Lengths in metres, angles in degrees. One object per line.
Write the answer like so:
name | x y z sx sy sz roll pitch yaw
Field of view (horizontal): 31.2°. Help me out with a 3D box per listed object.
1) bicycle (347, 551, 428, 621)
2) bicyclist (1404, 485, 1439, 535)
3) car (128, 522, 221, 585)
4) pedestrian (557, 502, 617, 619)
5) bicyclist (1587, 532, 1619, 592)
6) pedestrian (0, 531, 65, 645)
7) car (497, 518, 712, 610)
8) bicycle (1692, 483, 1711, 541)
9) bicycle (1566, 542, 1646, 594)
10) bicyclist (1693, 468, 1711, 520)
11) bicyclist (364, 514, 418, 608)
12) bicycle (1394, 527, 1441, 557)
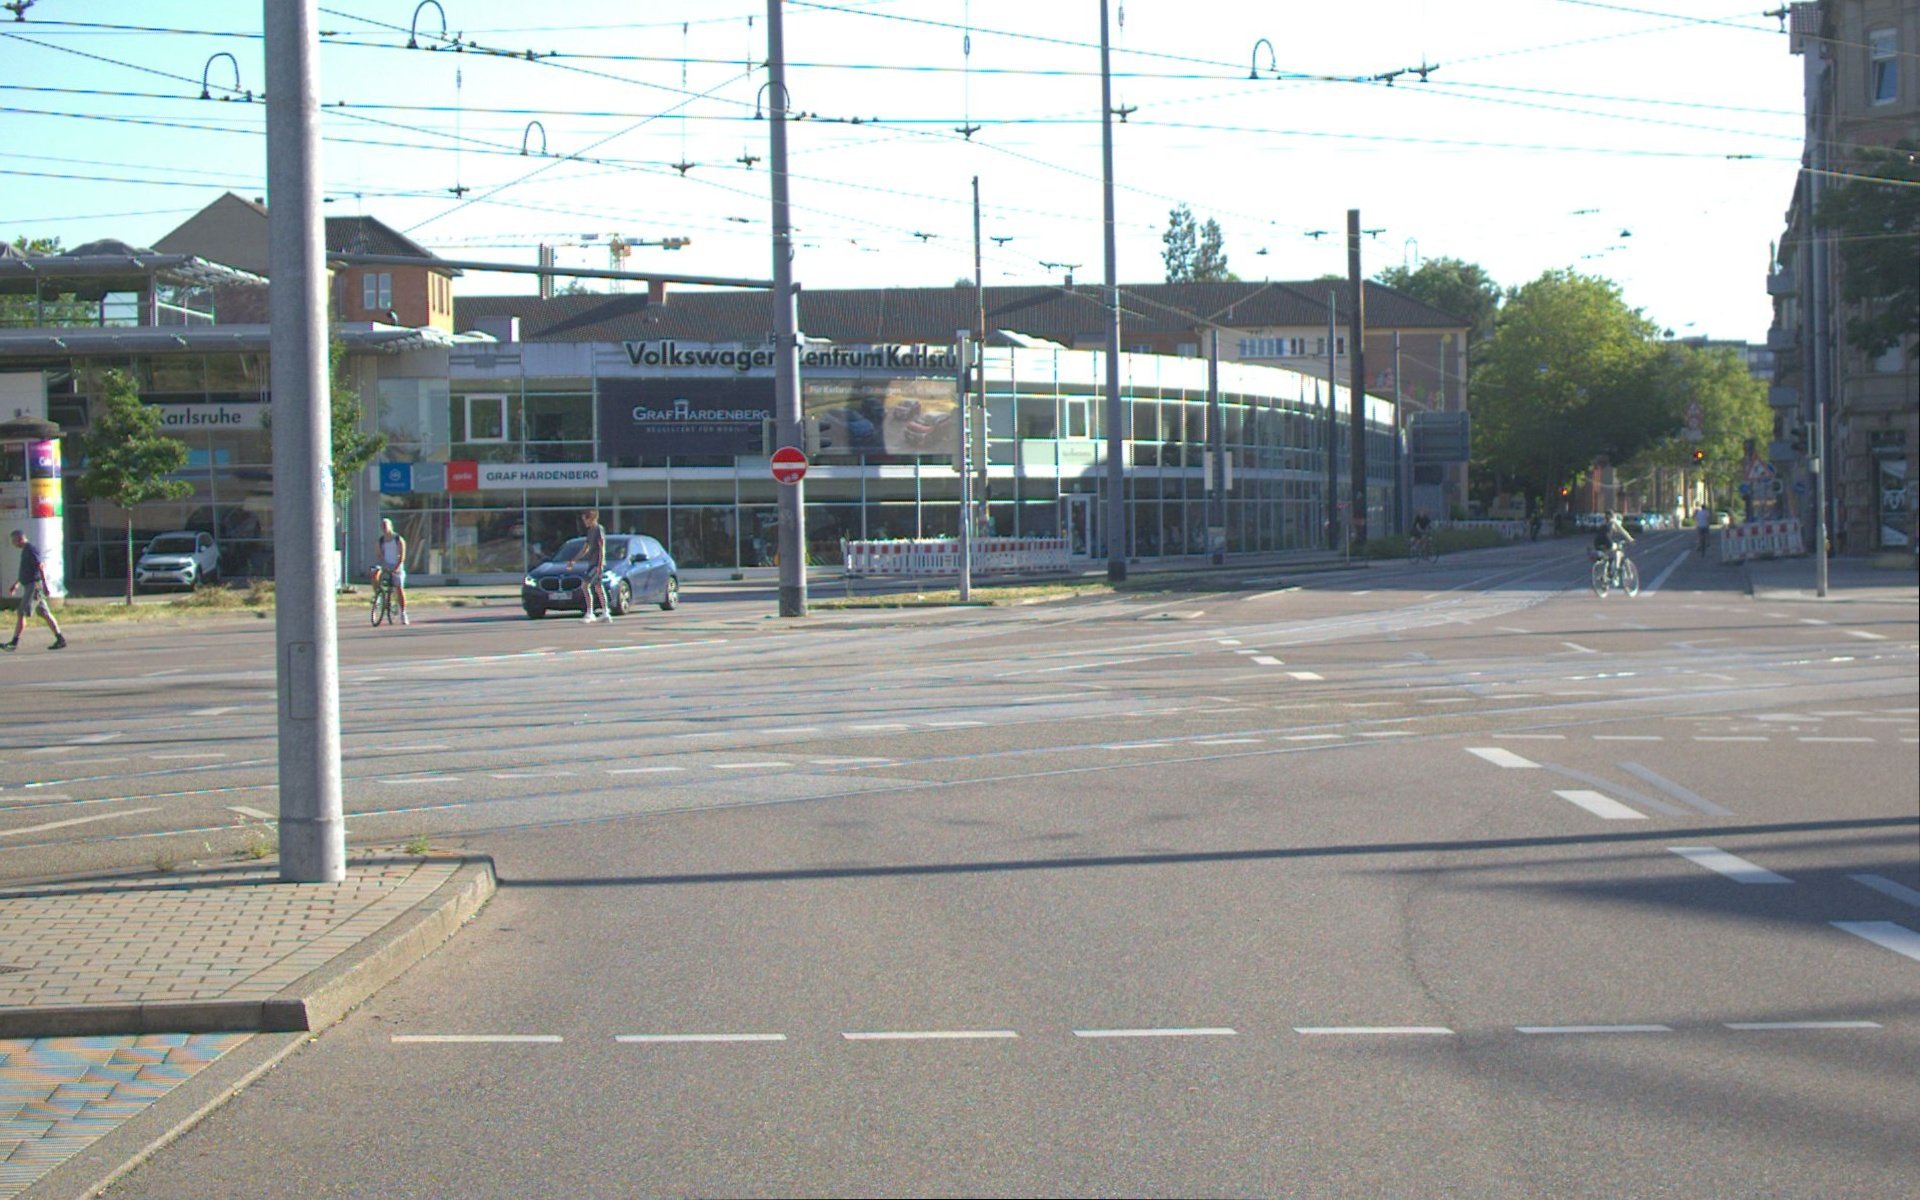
bicycle | -9.919 -0.242 59.625 0.613 1.185 1.867 1 1 17
bicyclist | 14.693 -2.876 109.504 0.771 1.571 0.762 1 0 -30
car | -22.640 -1.330 99.196 1.993 1.744 4.001 1 1 -4
pedestrian | -6.053 -0.642 55.827 0.795 1.880 0.758 1 0 7
bicyclist | 11.980 -0.704 64.071 0.398 1.112 0.409 0 1 -40
pedestrian | -14.053 -0.182 51.939 0.795 1.700 0.758 1 0 7
car | -6.342 -0.636 61.751 1.996 1.579 3.994 1 1 27
bicycle | 26.439 -3.126 122.556 0.618 2.007 2.398 1 0 13
bicycle | 12.060 -0.597 64.137 1.840 0.938 0.411 0 1 -41
bicyclist | 26.441 -3.780 122.556 0.599 1.803 0.827 1 0 13
bicyclist | -9.882 -0.677 59.717 0.598 1.610 0.822 1 0 17
bicycle | 14.604 -1.850 109.735 0.657 0.949 1.600 1 1 -30
